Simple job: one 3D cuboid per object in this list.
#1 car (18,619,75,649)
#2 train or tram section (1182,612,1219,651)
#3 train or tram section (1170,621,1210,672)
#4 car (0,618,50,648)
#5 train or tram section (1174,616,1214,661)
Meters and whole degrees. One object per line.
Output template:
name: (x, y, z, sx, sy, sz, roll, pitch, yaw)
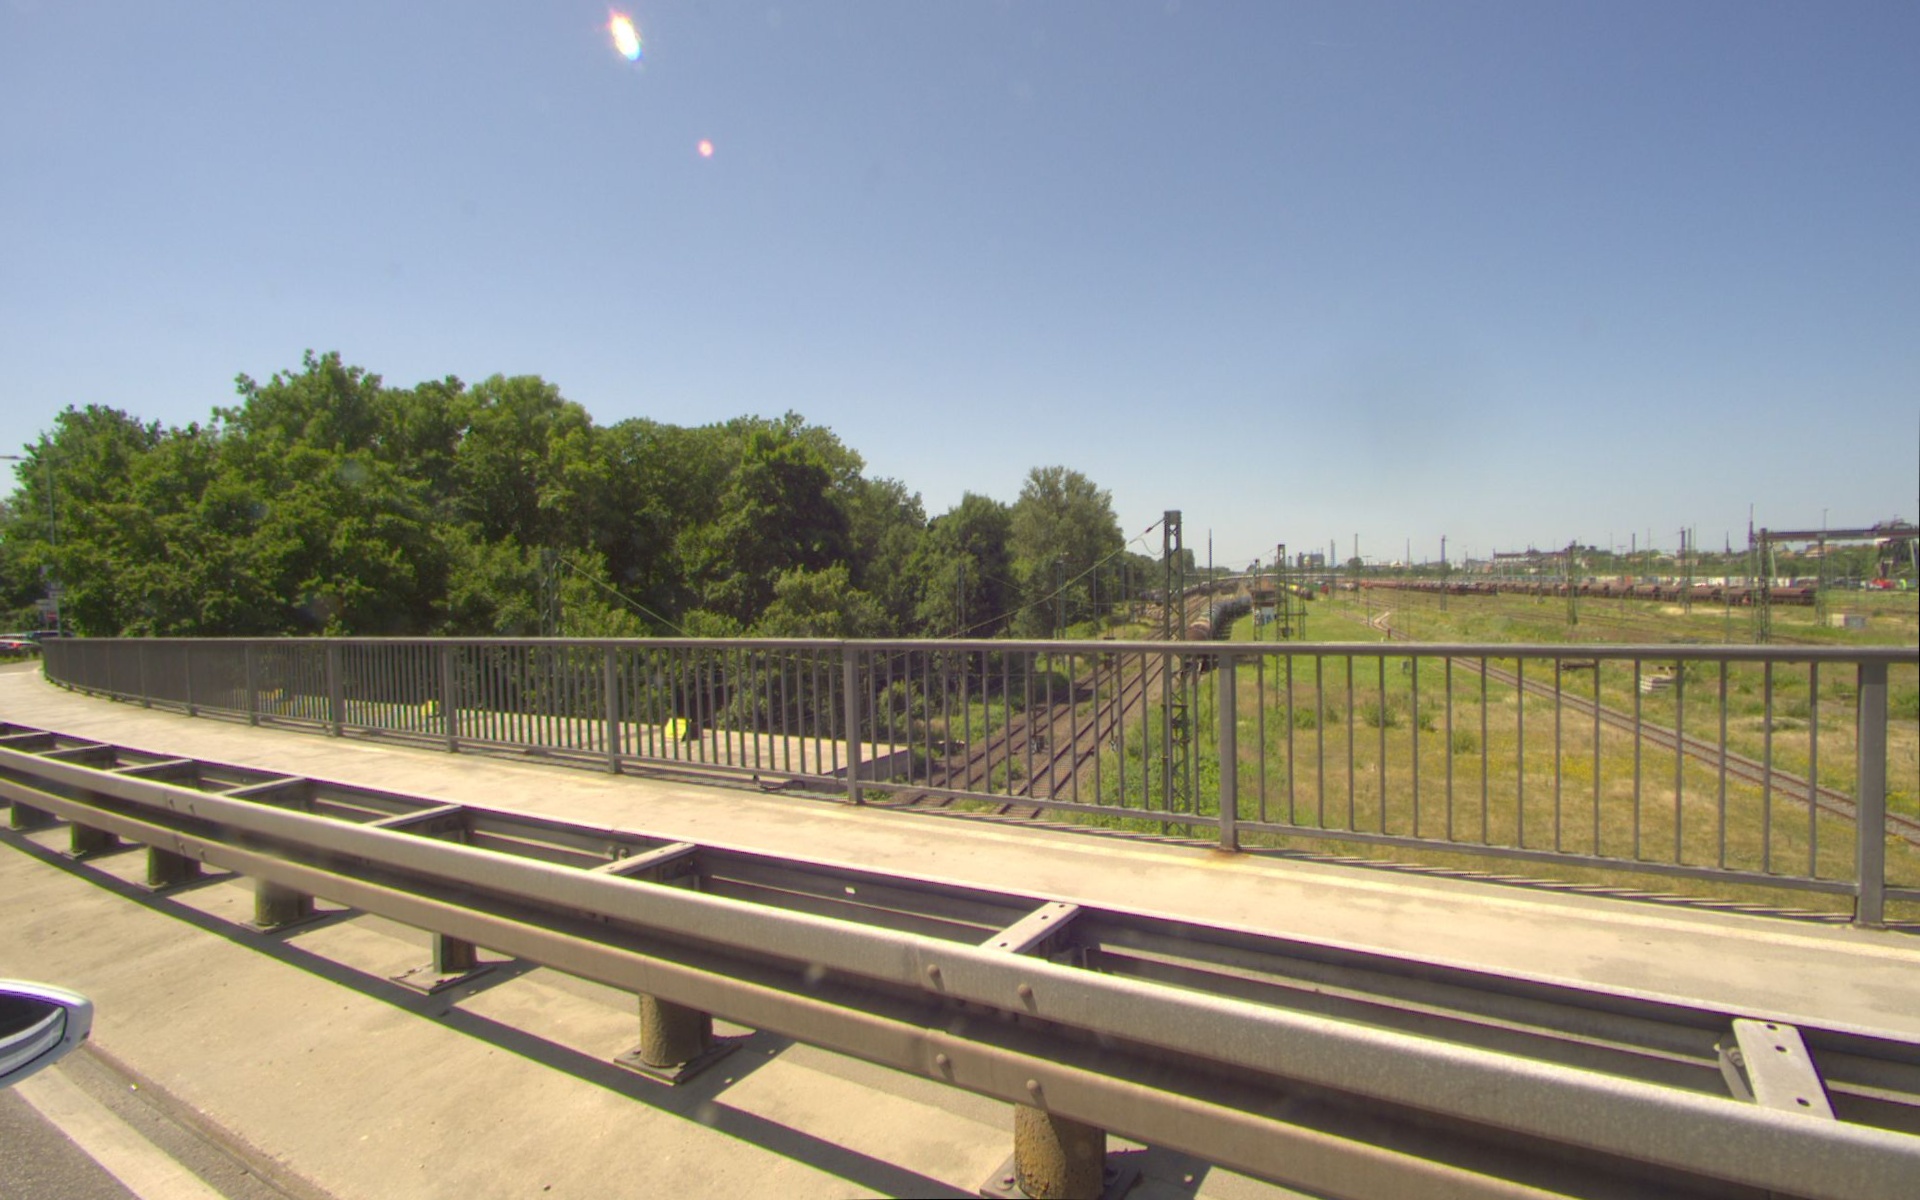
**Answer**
car: (-56.320, 2.125, 61.802, 1.666, 1.783, 3.982, 0, -2, -29)
train or tram section: (32.087, 4.056, 133.155, 3.783, 4.366, 13.603, -2, 1, 18)
train or tram section: (24.646, 4.851, 106.967, 3.781, 4.366, 13.612, -2, 1, 14)
car: (-52.912, 1.863, 56.154, 1.972, 1.594, 3.981, 2, -4, -31)
train or tram section: (28.194, 4.461, 120.149, 3.783, 4.366, 13.605, -2, 1, 17)
